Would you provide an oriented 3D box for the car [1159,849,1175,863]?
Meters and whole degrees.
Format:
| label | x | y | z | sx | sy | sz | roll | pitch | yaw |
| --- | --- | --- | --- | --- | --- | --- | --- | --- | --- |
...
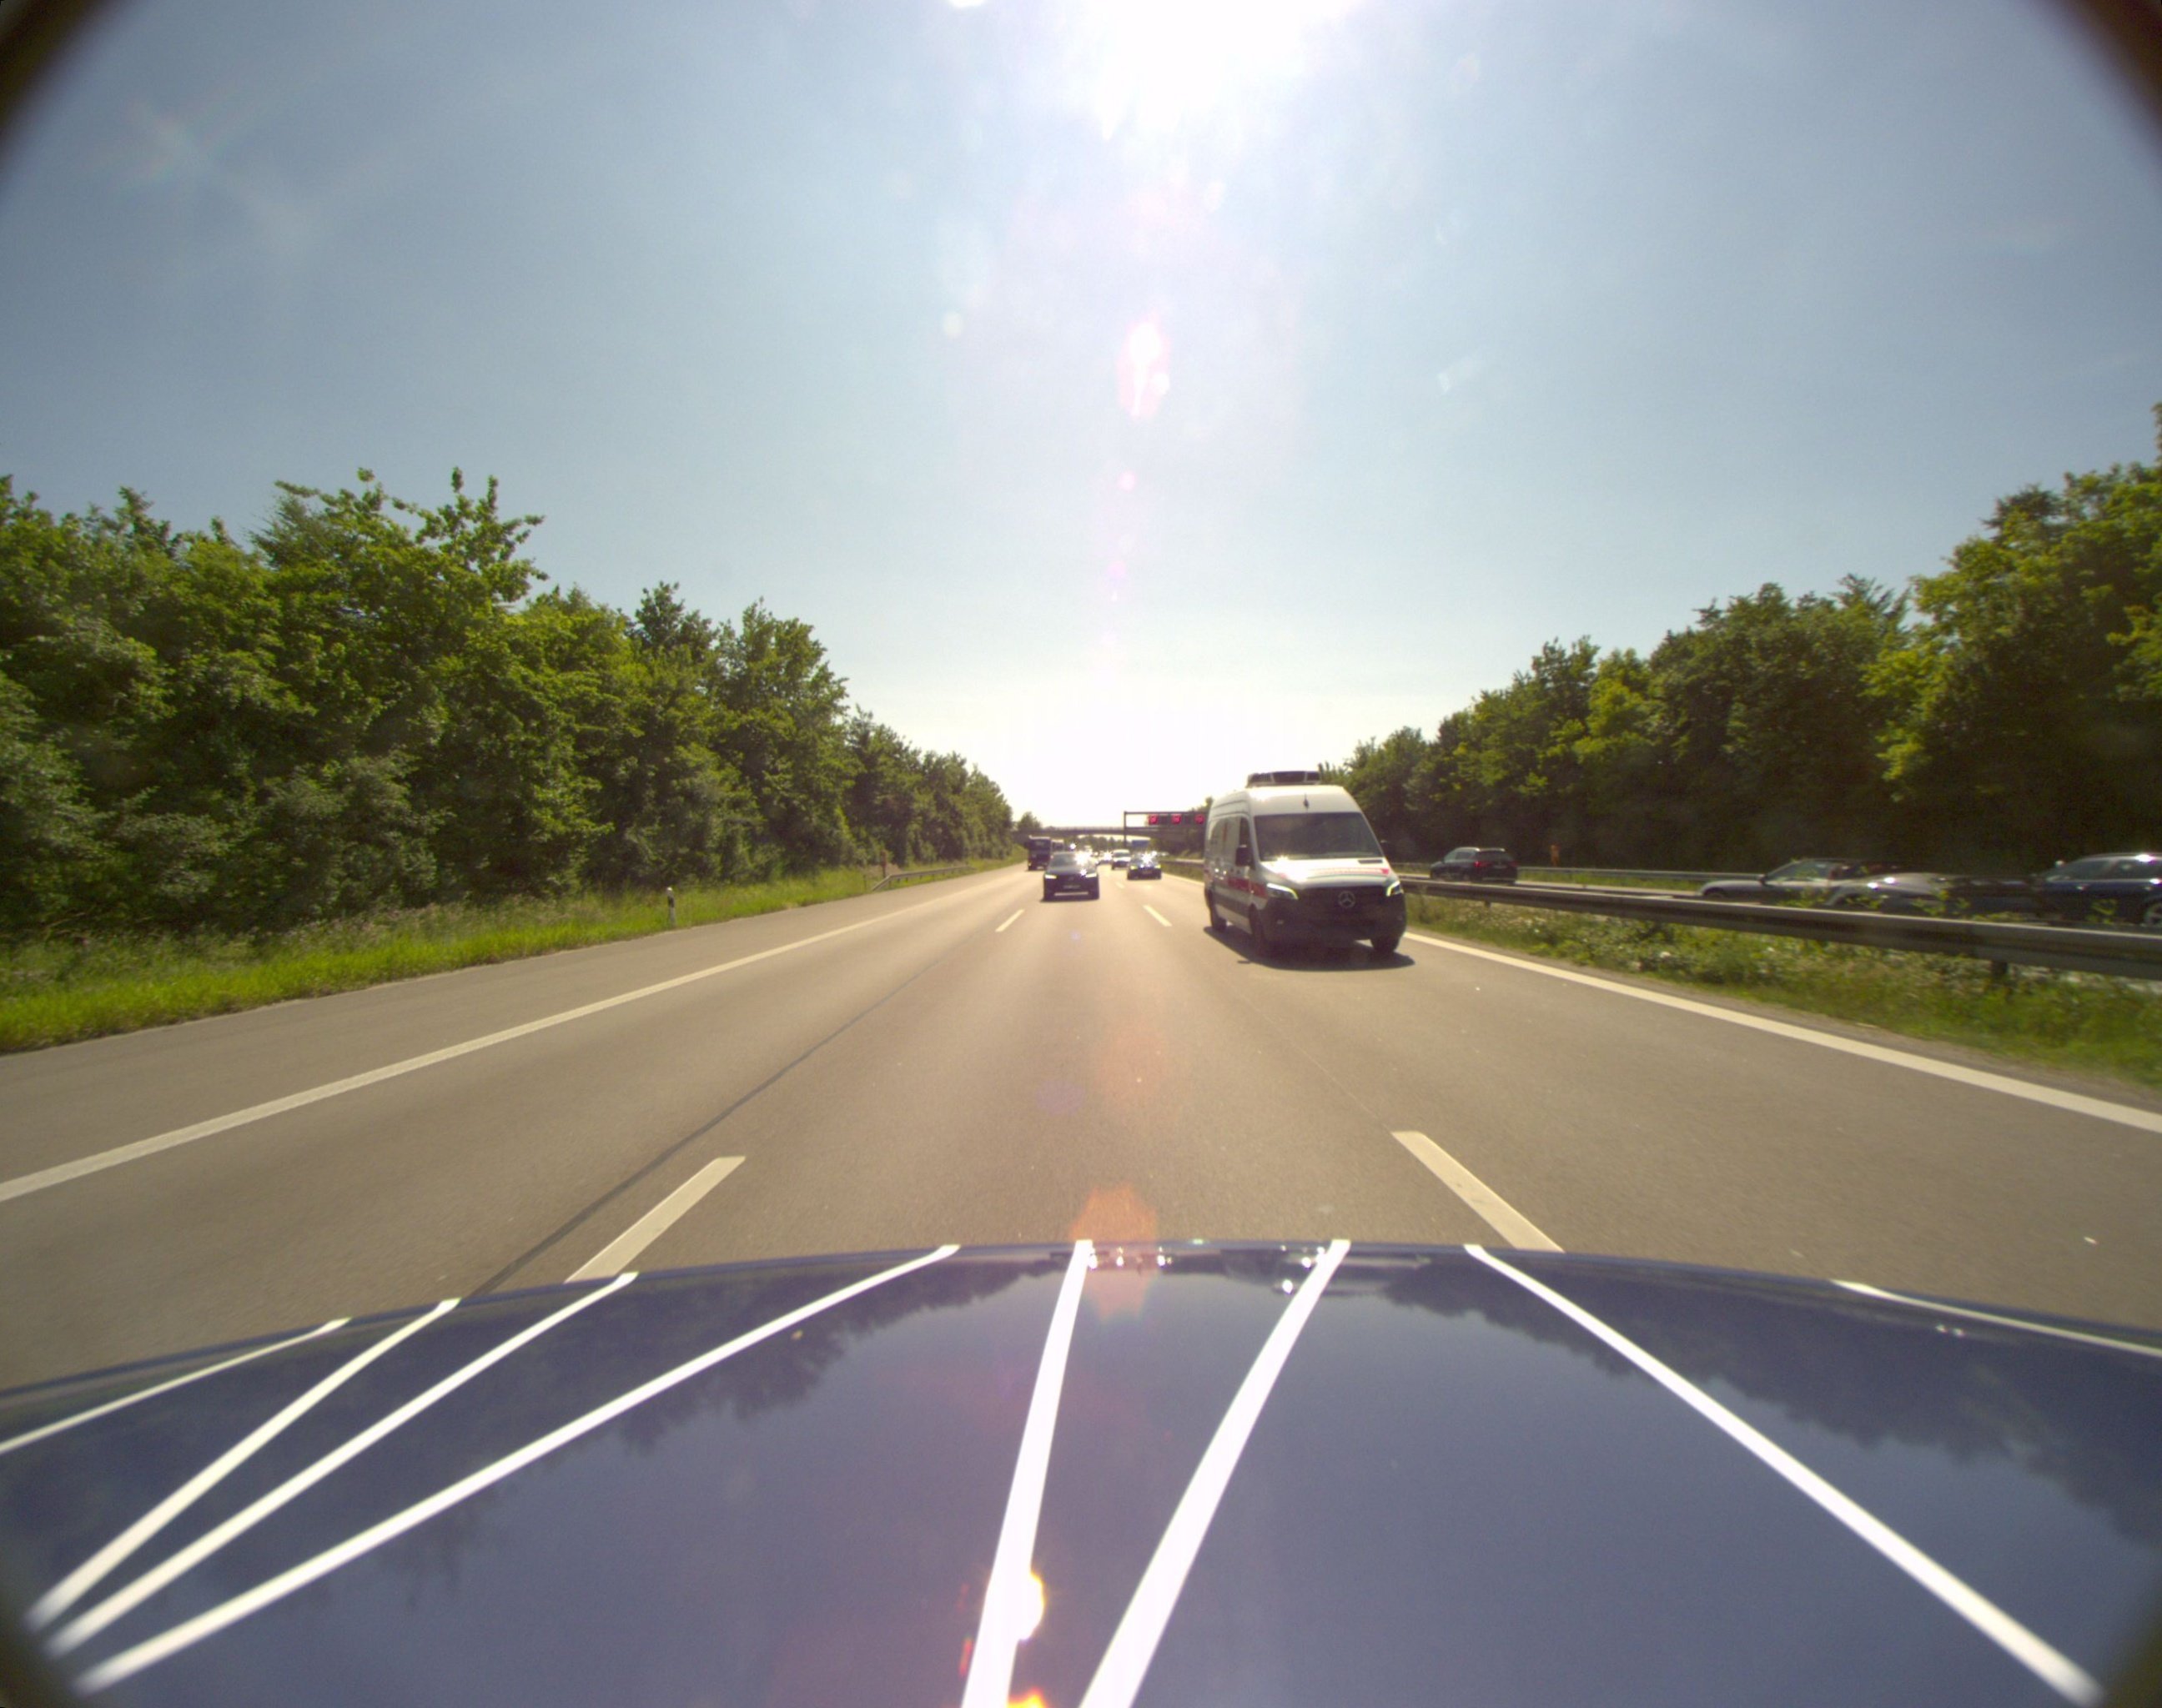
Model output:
| label | x | y | z | sx | sy | sz | roll | pitch | yaw |
| --- | --- | --- | --- | --- | --- | --- | --- | --- | --- |
| car | 12.296 | 0.292 | 108.931 | 1.694 | 1.871 | 5.018 | 0 | 0 | -1 |

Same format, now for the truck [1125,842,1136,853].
| label | x | y | z | sx | sy | sz | roll | pitch | yaw |
| --- | --- | --- | --- | --- | --- | --- | --- | --- | --- |
| truck | 14.569 | -1.959 | 222.802 | 2.785 | 3.286 | 8.057 | -1 | 1 | 2 |

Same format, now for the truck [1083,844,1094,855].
| label | x | y | z | sx | sy | sz | roll | pitch | yaw |
| --- | --- | --- | --- | --- | --- | --- | --- | --- | --- |
| truck | 2.455 | -1.471 | 247.669 | 3.242 | 3.684 | 10.933 | 0 | 1 | 0 |

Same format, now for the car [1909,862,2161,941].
| label | x | y | z | sx | sy | sz | roll | pitch | yaw |
| --- | --- | --- | --- | --- | --- | --- | --- | --- | --- |
| car | 19.411 | 0.832 | 14.475 | 1.751 | 1.290 | 5.062 | 0 | 0 | 0 |

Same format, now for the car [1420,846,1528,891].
| label | x | y | z | sx | sy | sz | roll | pitch | yaw |
| --- | --- | --- | --- | --- | --- | --- | --- | --- | --- |
| car | 15.565 | 0.527 | 30.399 | 1.998 | 1.620 | 4.574 | 0 | 0 | 0 |

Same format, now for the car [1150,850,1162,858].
| label | x | y | z | sx | sy | sz | roll | pitch | yaw |
| --- | --- | --- | --- | --- | --- | --- | --- | --- | --- |
| car | 15.006 | -0.034 | 151.238 | 1.872 | 1.576 | 4.557 | 0 | 1 | -1 |

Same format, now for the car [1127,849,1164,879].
| label | x | y | z | sx | sy | sz | roll | pitch | yaw |
| --- | --- | --- | --- | --- | --- | --- | --- | --- | --- |
| car | 3.657 | 0.541 | 43.858 | 1.904 | 1.616 | 4.241 | -1 | 0 | 2 |

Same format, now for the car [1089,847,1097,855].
| label | x | y | z | sx | sy | sz | roll | pitch | yaw |
| --- | --- | --- | --- | --- | --- | --- | --- | --- | --- |
| car | 3.097 | -0.771 | 200.403 | 1.998 | 2.002 | 4.345 | -1 | 0 | 2 |

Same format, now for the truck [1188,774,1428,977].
| label | x | y | z | sx | sy | sz | roll | pitch | yaw |
| --- | --- | --- | --- | --- | --- | --- | --- | --- | --- |
| truck | 3.384 | 0.261 | 13.078 | 1.999 | 2.527 | 6.691 | -2 | 0 | -1 |

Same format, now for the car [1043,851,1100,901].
| label | x | y | z | sx | sy | sz | roll | pitch | yaw |
| --- | --- | --- | --- | --- | --- | --- | --- | --- | --- |
| car | -0.268 | 0.711 | 27.301 | 1.811 | 1.648 | 4.000 | -1 | 0 | 2 |

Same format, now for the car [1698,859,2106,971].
| label | x | y | z | sx | sy | sz | roll | pitch | yaw |
| --- | --- | --- | --- | --- | --- | --- | --- | --- | --- |
| car | 11.645 | 0.754 | 11.295 | 1.672 | 1.309 | 4.120 | -1 | 0 | 1 |

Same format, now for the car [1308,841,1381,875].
| label | x | y | z | sx | sy | sz | roll | pitch | yaw |
| --- | --- | --- | --- | --- | --- | --- | --- | --- | --- |
| car | 11.966 | 0.167 | 34.848 | 1.959 | 1.474 | 4.346 | 0 | 0 | 2 |

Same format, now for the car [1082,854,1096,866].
| label | x | y | z | sx | sy | sz | roll | pitch | yaw |
| --- | --- | --- | --- | --- | --- | --- | --- | --- | --- |
| car | 1.205 | 0.833 | 108.873 | 1.742 | 1.630 | 3.845 | 0 | 1 | 4 |

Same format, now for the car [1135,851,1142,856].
| label | x | y | z | sx | sy | sz | roll | pitch | yaw |
| --- | --- | --- | --- | --- | --- | --- | --- | --- | --- |
| car | 19.193 | -0.286 | 254.878 | 1.998 | 1.434 | 4.532 | -1 | 1 | 2 |

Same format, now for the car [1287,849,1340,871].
| label | x | y | z | sx | sy | sz | roll | pitch | yaw |
| --- | --- | --- | --- | --- | --- | --- | --- | --- | --- |
| car | 16.393 | 0.362 | 53.874 | 1.998 | 1.466 | 5.622 | 0 | 0 | 0 |

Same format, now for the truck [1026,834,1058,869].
| label | x | y | z | sx | sy | sz | roll | pitch | yaw |
| --- | --- | --- | --- | --- | --- | --- | --- | --- | --- |
| truck | -3.943 | -0.294 | 78.586 | 2.965 | 3.388 | 8.046 | 0 | 1 | -1 |

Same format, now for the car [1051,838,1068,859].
| label | x | y | z | sx | sy | sz | roll | pitch | yaw |
| --- | --- | --- | --- | --- | --- | --- | --- | --- | --- |
| car | -4.205 | -1.119 | 151.034 | 3.203 | 3.997 | 8.124 | 0 | 1 | -1 |

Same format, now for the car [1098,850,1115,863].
| label | x | y | z | sx | sy | sz | roll | pitch | yaw |
| --- | --- | --- | --- | --- | --- | --- | --- | --- | --- |
| car | 3.182 | 0.312 | 94.479 | 1.998 | 1.540 | 3.999 | -1 | 1 | 1 |

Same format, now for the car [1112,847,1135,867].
| label | x | y | z | sx | sy | sz | roll | pitch | yaw |
| --- | --- | --- | --- | --- | --- | --- | --- | --- | --- |
| car | 3.815 | 0.240 | 68.733 | 1.870 | 1.713 | 3.979 | -1 | 1 | 0 |
